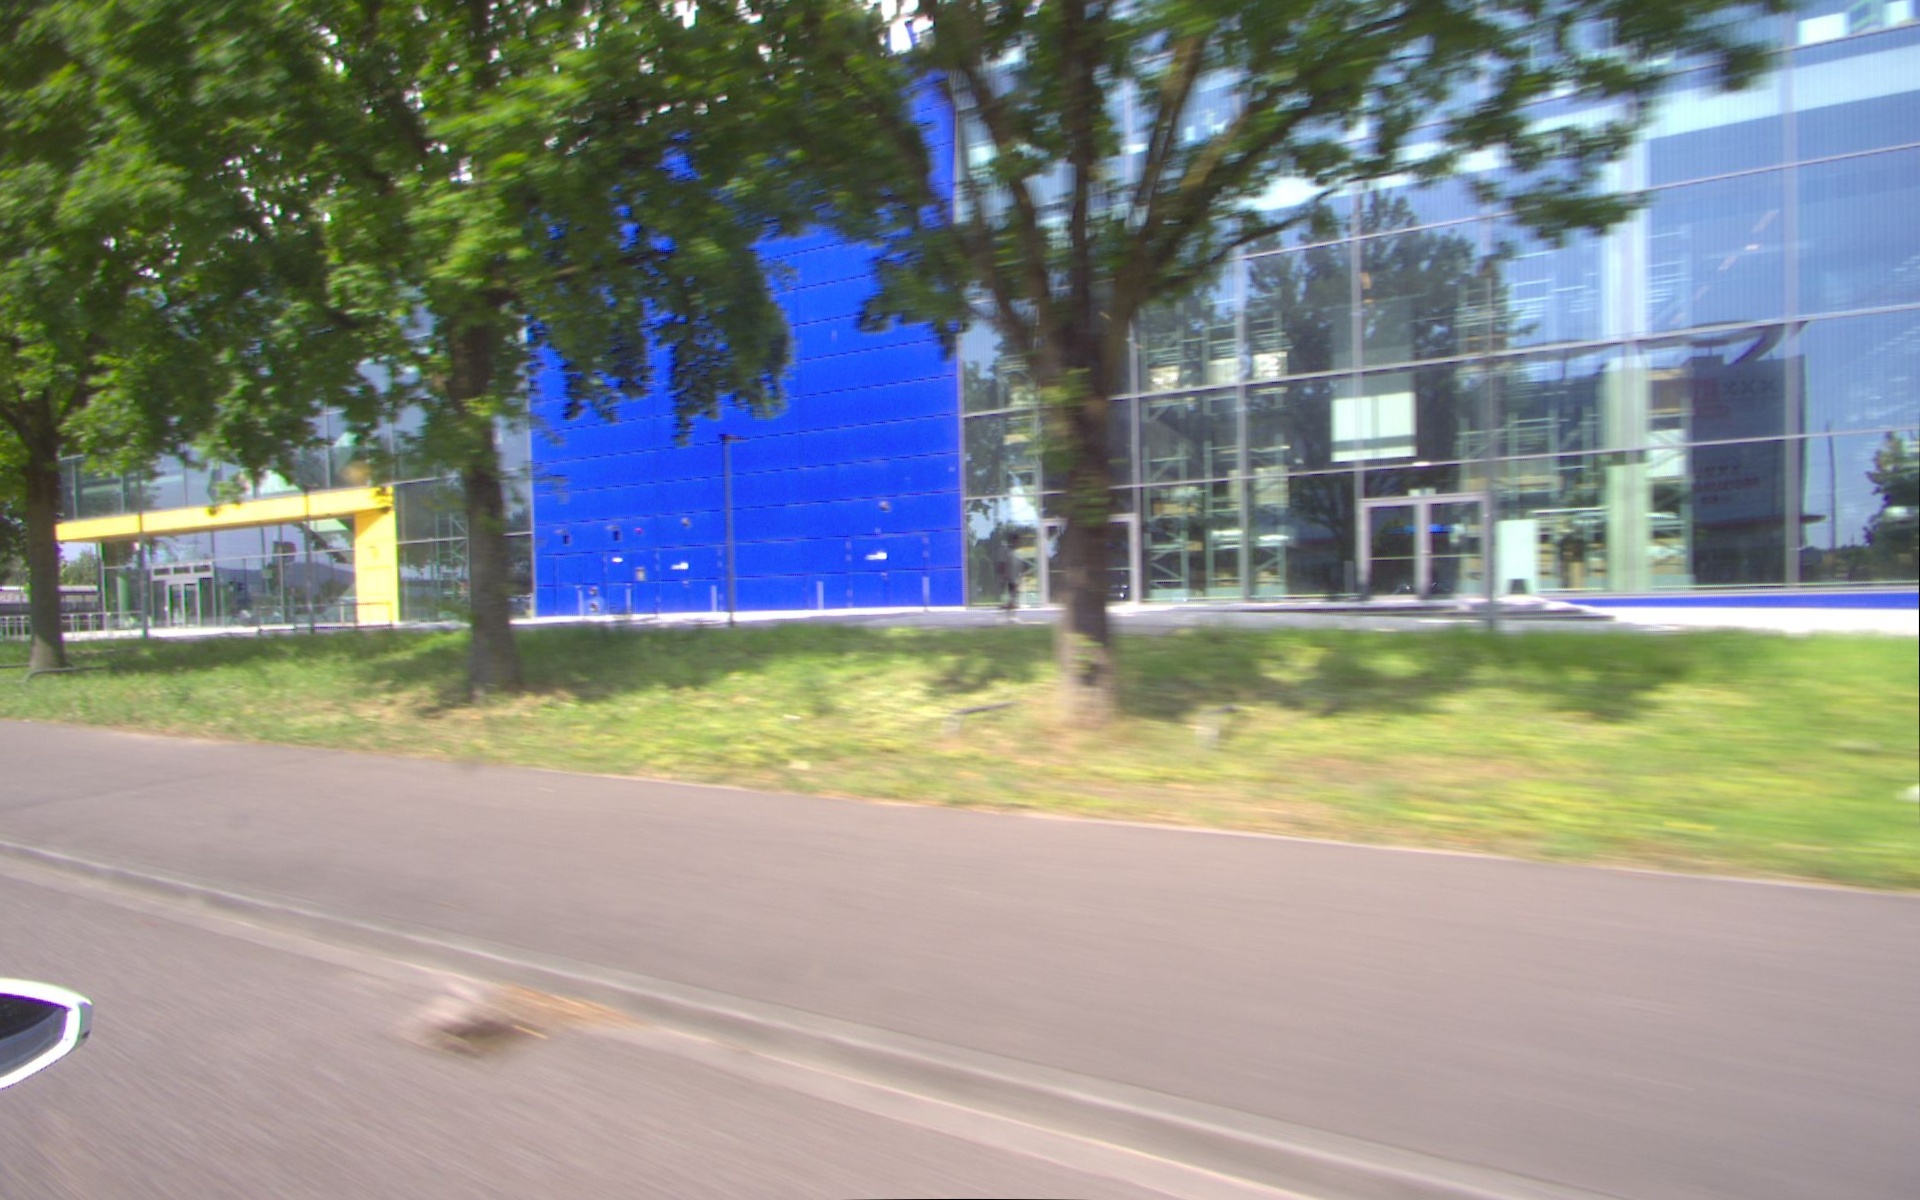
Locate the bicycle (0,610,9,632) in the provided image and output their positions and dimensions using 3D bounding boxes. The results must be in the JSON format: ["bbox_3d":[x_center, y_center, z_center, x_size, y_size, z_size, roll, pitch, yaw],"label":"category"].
[{"bbox_3d":[-38.964,0.852,39.832,0.427,0.854,1.559,0,1,29],"label":"bicycle"}]

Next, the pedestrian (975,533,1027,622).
[{"bbox_3d":[0.771,-0.412,18.776,0.758,1.634,0.688,0,2,24],"label":"pedestrian"}]

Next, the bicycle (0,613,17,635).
[{"bbox_3d":[-38.225,0.947,39.399,0.427,0.854,1.559,0,1,29],"label":"bicycle"}]
